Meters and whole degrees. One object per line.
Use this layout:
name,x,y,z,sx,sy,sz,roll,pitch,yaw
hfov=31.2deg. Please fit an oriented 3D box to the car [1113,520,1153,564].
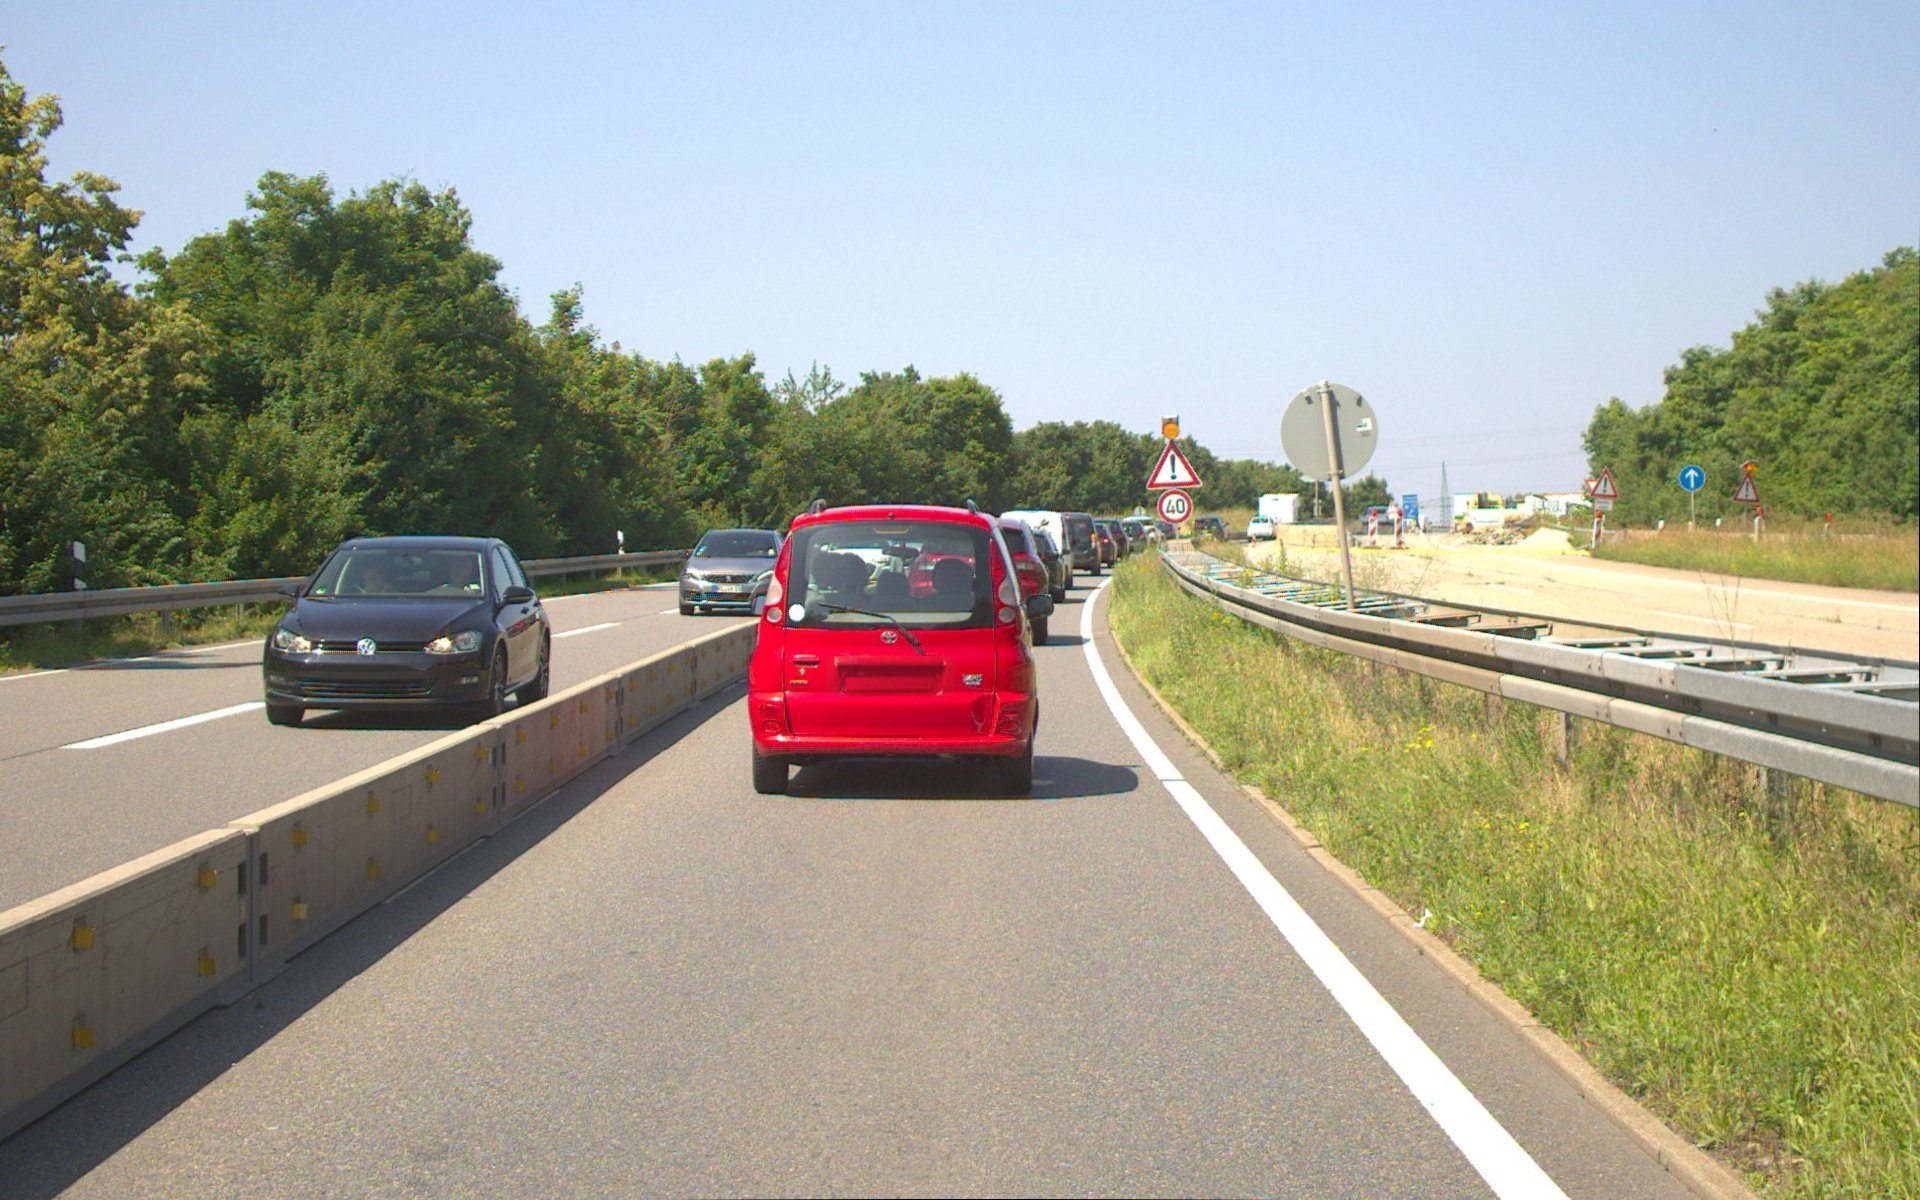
car,6.958,-2.322,138.265,1.502,1.730,3.169,1,1,5

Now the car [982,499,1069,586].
car,1.559,-1.373,81.108,1.993,1.997,4.000,0,1,2

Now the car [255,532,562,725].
car,-4.317,0.173,27.476,1.815,1.419,4.109,0,1,0

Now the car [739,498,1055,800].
car,-0.363,0.231,21.065,1.751,1.667,4.000,0,1,0

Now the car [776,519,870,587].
car,-3.179,-1.122,80.676,1.949,1.533,4.436,0,1,1

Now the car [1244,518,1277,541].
car,19.438,-4.554,222.372,1.994,1.481,4.000,-1,1,3

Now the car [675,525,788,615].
car,-3.898,-0.537,59.221,1.724,1.491,4.389,0,1,-1

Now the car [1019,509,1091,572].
car,2.685,-1.712,98.297,1.993,1.744,4.000,0,1,1

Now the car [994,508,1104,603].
car,1.748,-0.899,68.545,1.993,1.831,4.000,0,1,-1

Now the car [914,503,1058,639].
car,0.314,-0.416,45.769,1.830,1.716,4.000,0,1,0

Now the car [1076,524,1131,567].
car,5.287,-2.014,126.787,1.993,1.579,4.000,0,1,2

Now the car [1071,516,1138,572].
car,4.706,-1.827,112.282,1.993,1.777,4.000,0,1,0

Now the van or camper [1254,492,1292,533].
van or camper,21.319,-5.961,234.391,2.328,2.697,4.593,-1,1,2

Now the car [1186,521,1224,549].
car,13.440,-3.572,188.572,1.994,1.546,4.000,0,1,4
